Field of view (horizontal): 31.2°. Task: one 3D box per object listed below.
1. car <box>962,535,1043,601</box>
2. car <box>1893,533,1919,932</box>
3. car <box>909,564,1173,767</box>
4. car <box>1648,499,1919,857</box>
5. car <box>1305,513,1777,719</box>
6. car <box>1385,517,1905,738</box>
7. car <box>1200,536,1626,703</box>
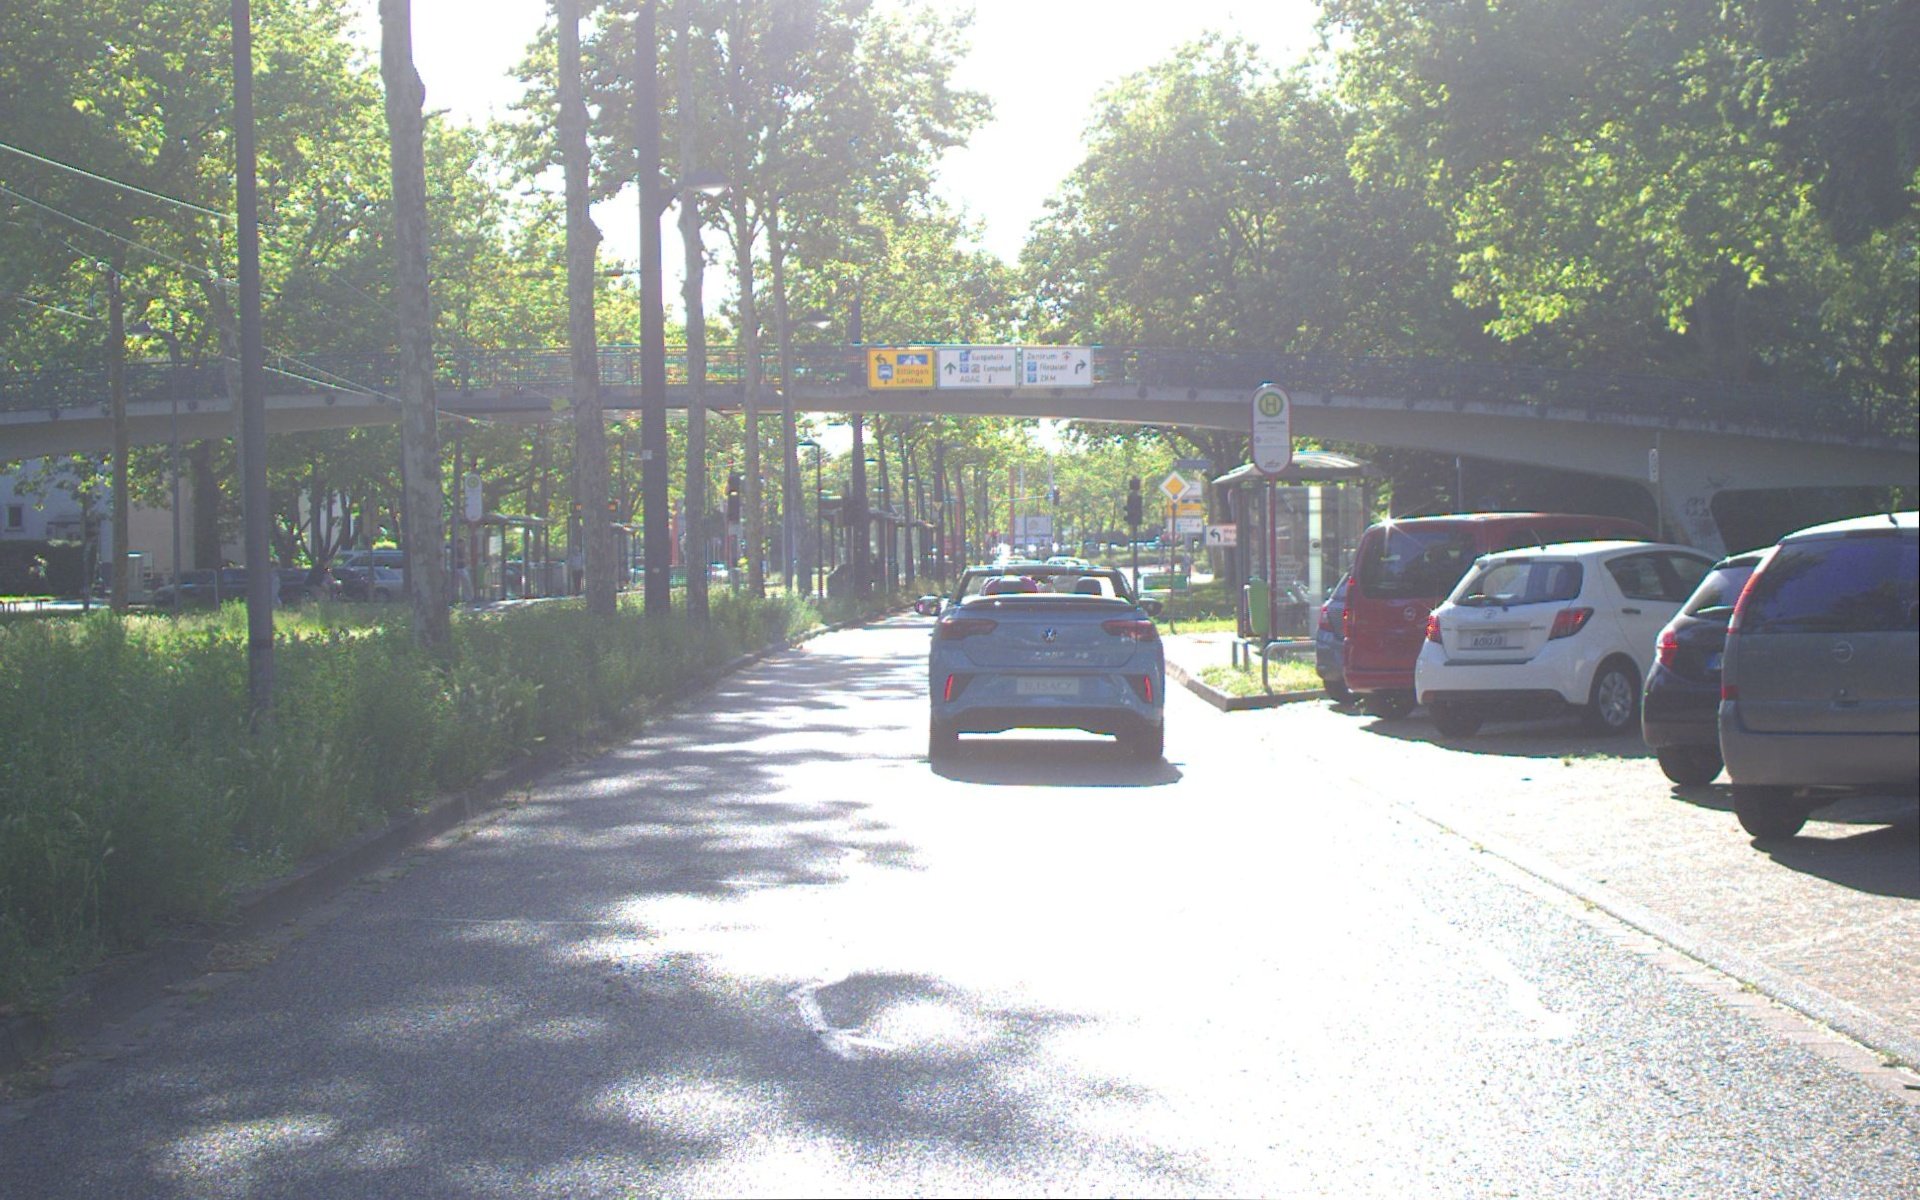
[{"bbox_3d":[1.060,-0.842,88.197,1.993,1.645,4.000,0,1,0],"label":"car"},{"bbox_3d":[5.881,0.452,14.028,4.612,1.516,1.856,-2,1,-43],"label":"car"},{"bbox_3d":[0.586,0.457,27.047,1.922,1.406,4.000,0,2,0],"label":"car"},{"bbox_3d":[5.643,0.324,18.136,1.855,1.674,4.600,-2,0,41],"label":"car"},{"bbox_3d":[5.395,0.105,31.569,4.612,1.762,1.856,-1,1,-43],"label":"car"},{"bbox_3d":[5.706,0.182,28.293,4.612,1.674,1.856,-1,1,-43],"label":"car"},{"bbox_3d":[4.729,0.161,35.470,4.612,1.608,1.856,-1,1,-43],"label":"car"}]
